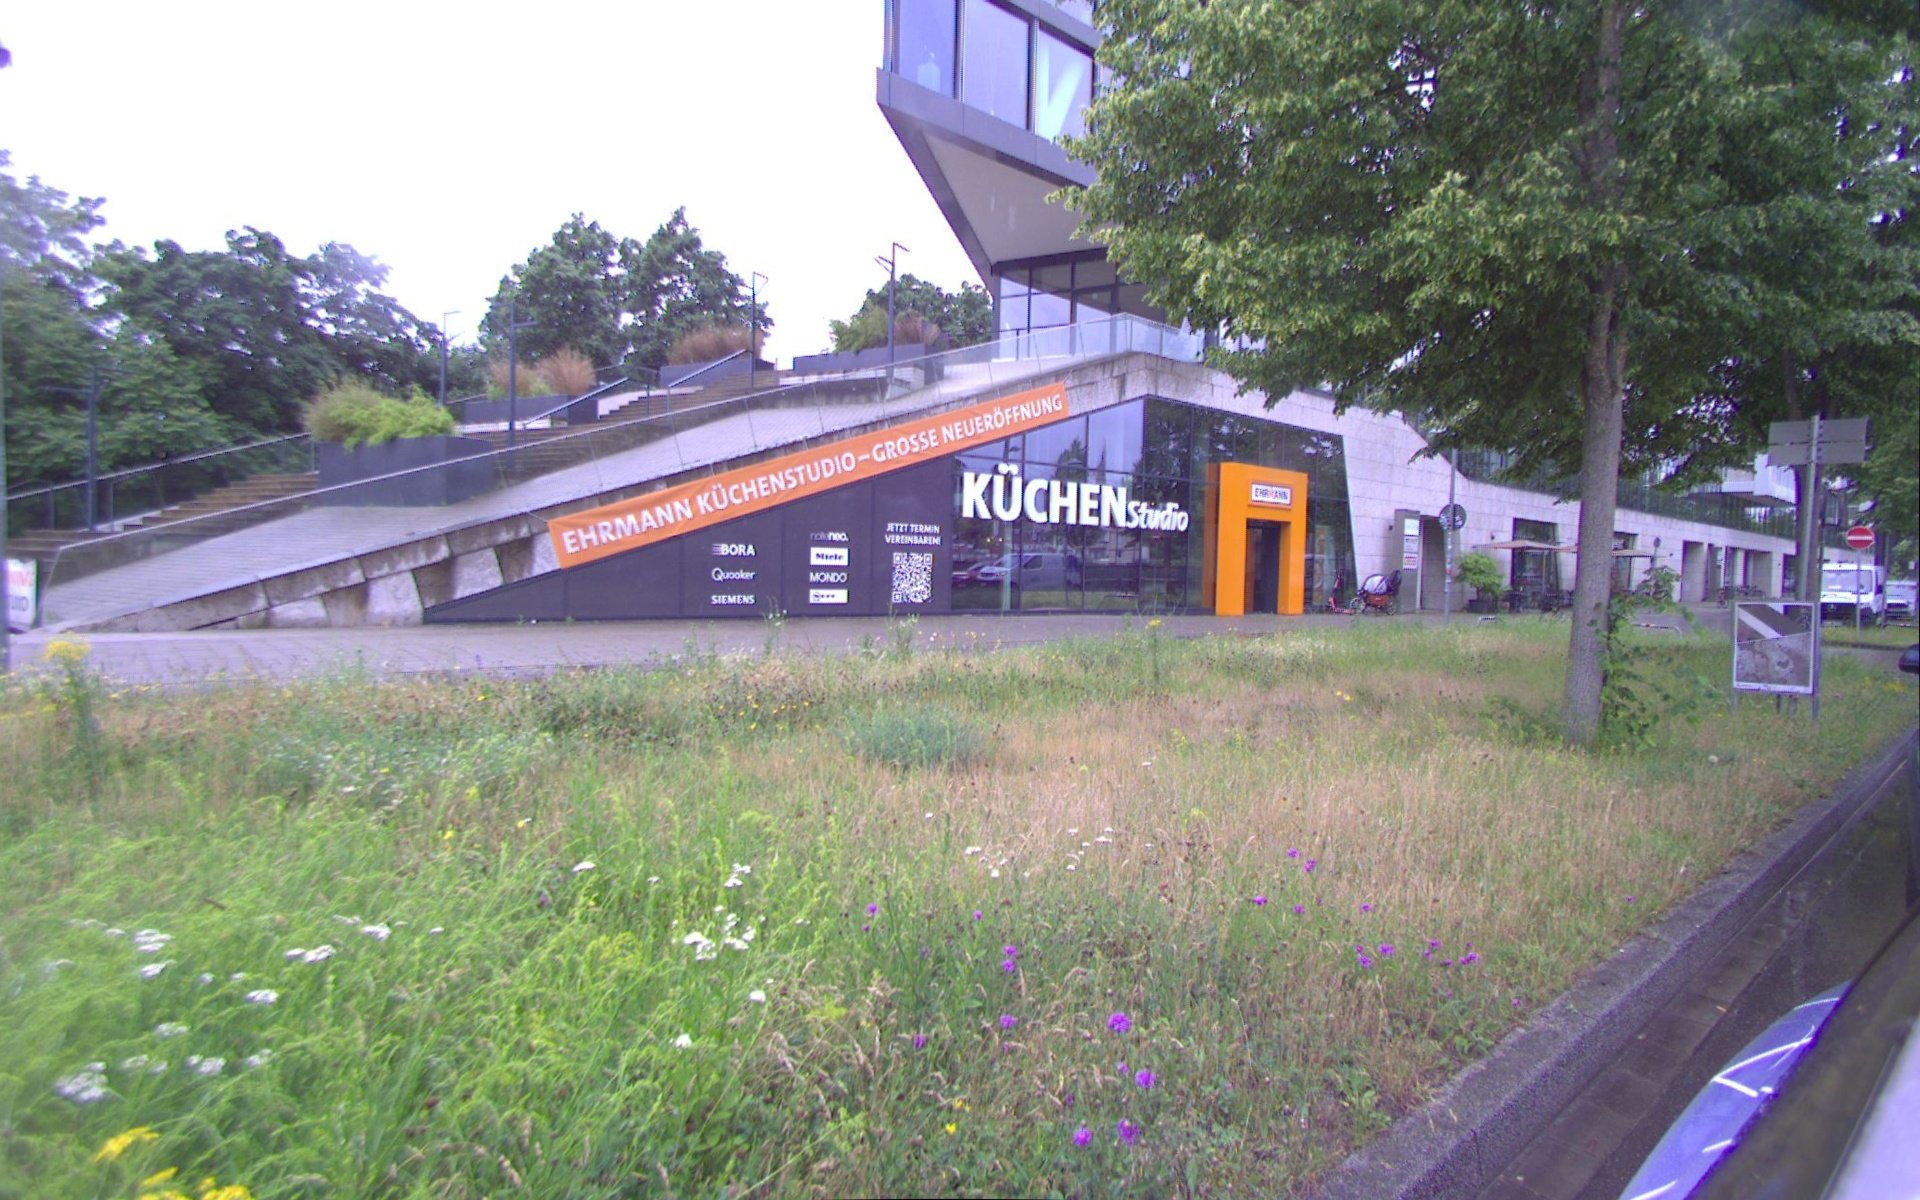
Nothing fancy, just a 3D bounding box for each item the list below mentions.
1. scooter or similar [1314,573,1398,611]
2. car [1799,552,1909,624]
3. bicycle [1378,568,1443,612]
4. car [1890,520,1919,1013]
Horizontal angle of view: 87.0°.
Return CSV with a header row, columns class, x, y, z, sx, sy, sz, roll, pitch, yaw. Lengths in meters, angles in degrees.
class,x,y,z,sx,sy,sz,roll,pitch,yaw
scooter or similar,12.126,-0.247,30.991,2.560,1.113,0.814,0,0,-23
car,29.667,-0.403,33.539,5.008,2.229,2.083,-1,0,-41
bicycle,14.597,-0.335,32.721,2.650,1.364,0.882,-1,0,-41
car,5.643,0.635,4.379,4.306,1.769,1.915,1,-1,-41
